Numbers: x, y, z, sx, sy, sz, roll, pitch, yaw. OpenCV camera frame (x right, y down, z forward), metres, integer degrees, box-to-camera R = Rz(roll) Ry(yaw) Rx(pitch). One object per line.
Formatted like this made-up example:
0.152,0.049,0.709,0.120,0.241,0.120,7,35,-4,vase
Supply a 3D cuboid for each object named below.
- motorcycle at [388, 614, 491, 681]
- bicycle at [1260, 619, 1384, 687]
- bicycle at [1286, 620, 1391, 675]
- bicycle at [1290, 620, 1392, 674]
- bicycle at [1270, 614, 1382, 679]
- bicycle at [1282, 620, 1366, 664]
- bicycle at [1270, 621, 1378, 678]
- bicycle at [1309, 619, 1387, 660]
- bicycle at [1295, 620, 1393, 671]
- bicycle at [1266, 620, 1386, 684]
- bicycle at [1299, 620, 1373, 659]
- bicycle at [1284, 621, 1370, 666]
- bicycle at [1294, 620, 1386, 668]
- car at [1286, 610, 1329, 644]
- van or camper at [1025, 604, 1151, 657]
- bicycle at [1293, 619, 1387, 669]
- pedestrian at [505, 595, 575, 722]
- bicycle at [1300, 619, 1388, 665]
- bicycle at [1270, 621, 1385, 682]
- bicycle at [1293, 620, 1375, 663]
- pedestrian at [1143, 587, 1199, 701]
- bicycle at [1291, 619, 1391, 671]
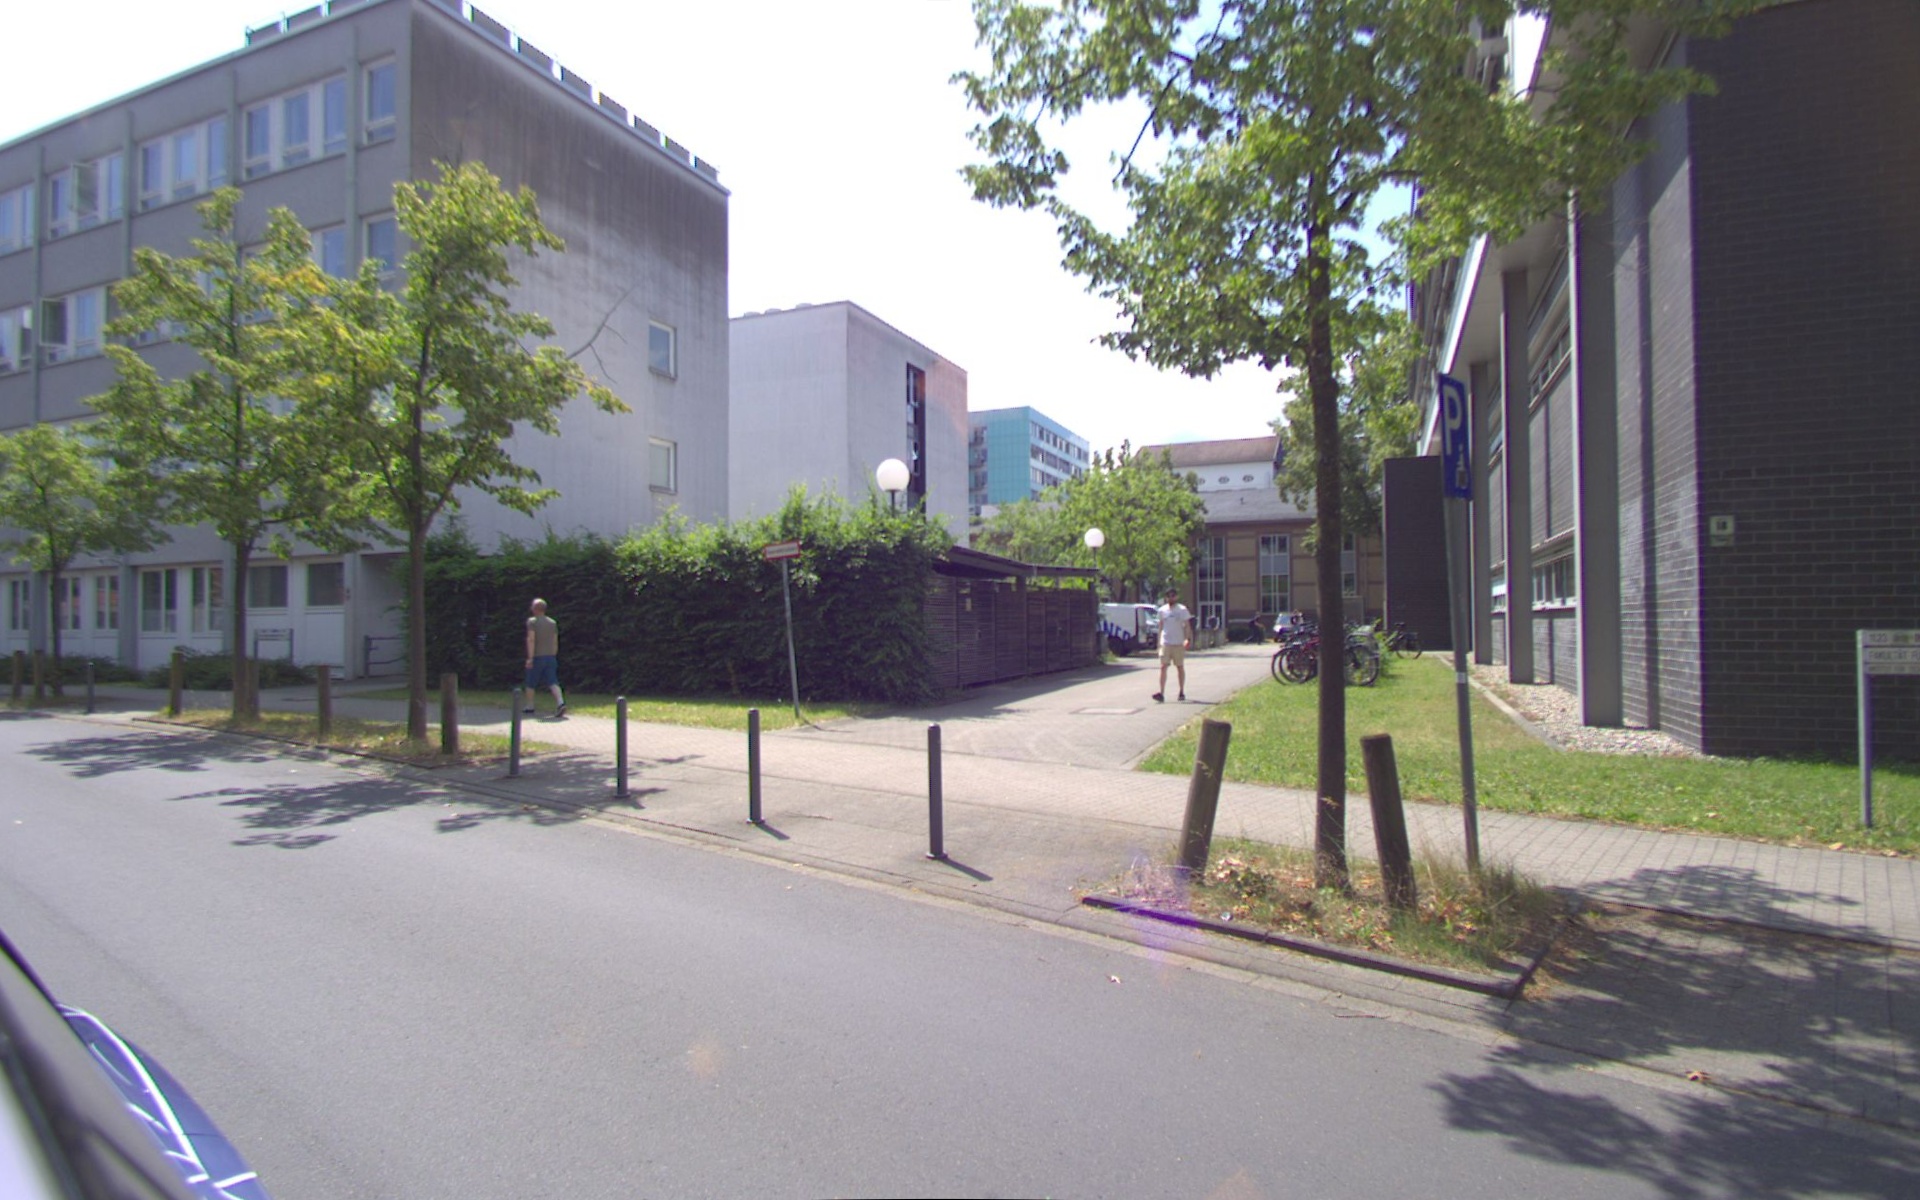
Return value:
-12.670,1.129,24.705,1.074,1.562,2.088,-1,-1,20,motorcycle
6.453,0.936,18.095,2.036,1.171,0.577,-1,-2,22,bicycle
8.004,0.997,21.459,2.036,1.131,0.545,-1,-2,22,bicycle
8.256,1.014,21.992,2.036,1.131,0.499,-1,-2,22,bicycle
7.260,0.921,20.107,2.036,1.252,0.577,-1,-2,22,bicycle
9.622,1.102,26.763,2.036,1.131,0.577,-1,-2,22,bicycle
7.442,1.009,20.713,2.036,1.131,0.577,-1,-2,22,bicycle
11.121,1.133,29.063,2.036,1.131,0.577,-1,-2,22,bicycle
8.757,1.030,23.135,2.036,1.131,0.577,-1,-2,22,bicycle
6.764,0.954,18.748,2.036,1.131,0.577,-1,-2,22,bicycle
11.320,1.193,30.482,2.036,1.131,0.577,-1,-2,22,bicycle
9.472,1.112,26.159,2.036,1.131,0.577,-1,-2,22,bicycle
9.203,1.067,24.539,2.036,1.131,0.577,-1,-2,22,bicycle
20.913,1.617,60.832,1.859,1.788,3.964,-1,1,27,car
4.458,1.075,35.157,4.071,1.752,1.744,-1,-1,21,van or camper
8.975,1.041,23.947,2.036,1.131,0.577,-1,-2,22,bicycle
-6.106,0.831,14.717,0.910,1.778,0.578,-2,-2,38,pedestrian
9.630,1.048,25.423,2.036,1.131,0.577,-1,-2,22,bicycle
7.067,0.977,19.491,2.036,1.131,0.577,-1,-2,22,bicycle
10.051,1.122,27.259,2.036,1.131,0.577,-1,-2,22,bicycle
3.304,0.674,15.833,0.686,1.733,0.610,-2,-2,30,pedestrian
8.478,1.007,22.562,2.036,1.131,0.577,-1,-2,22,bicycle
